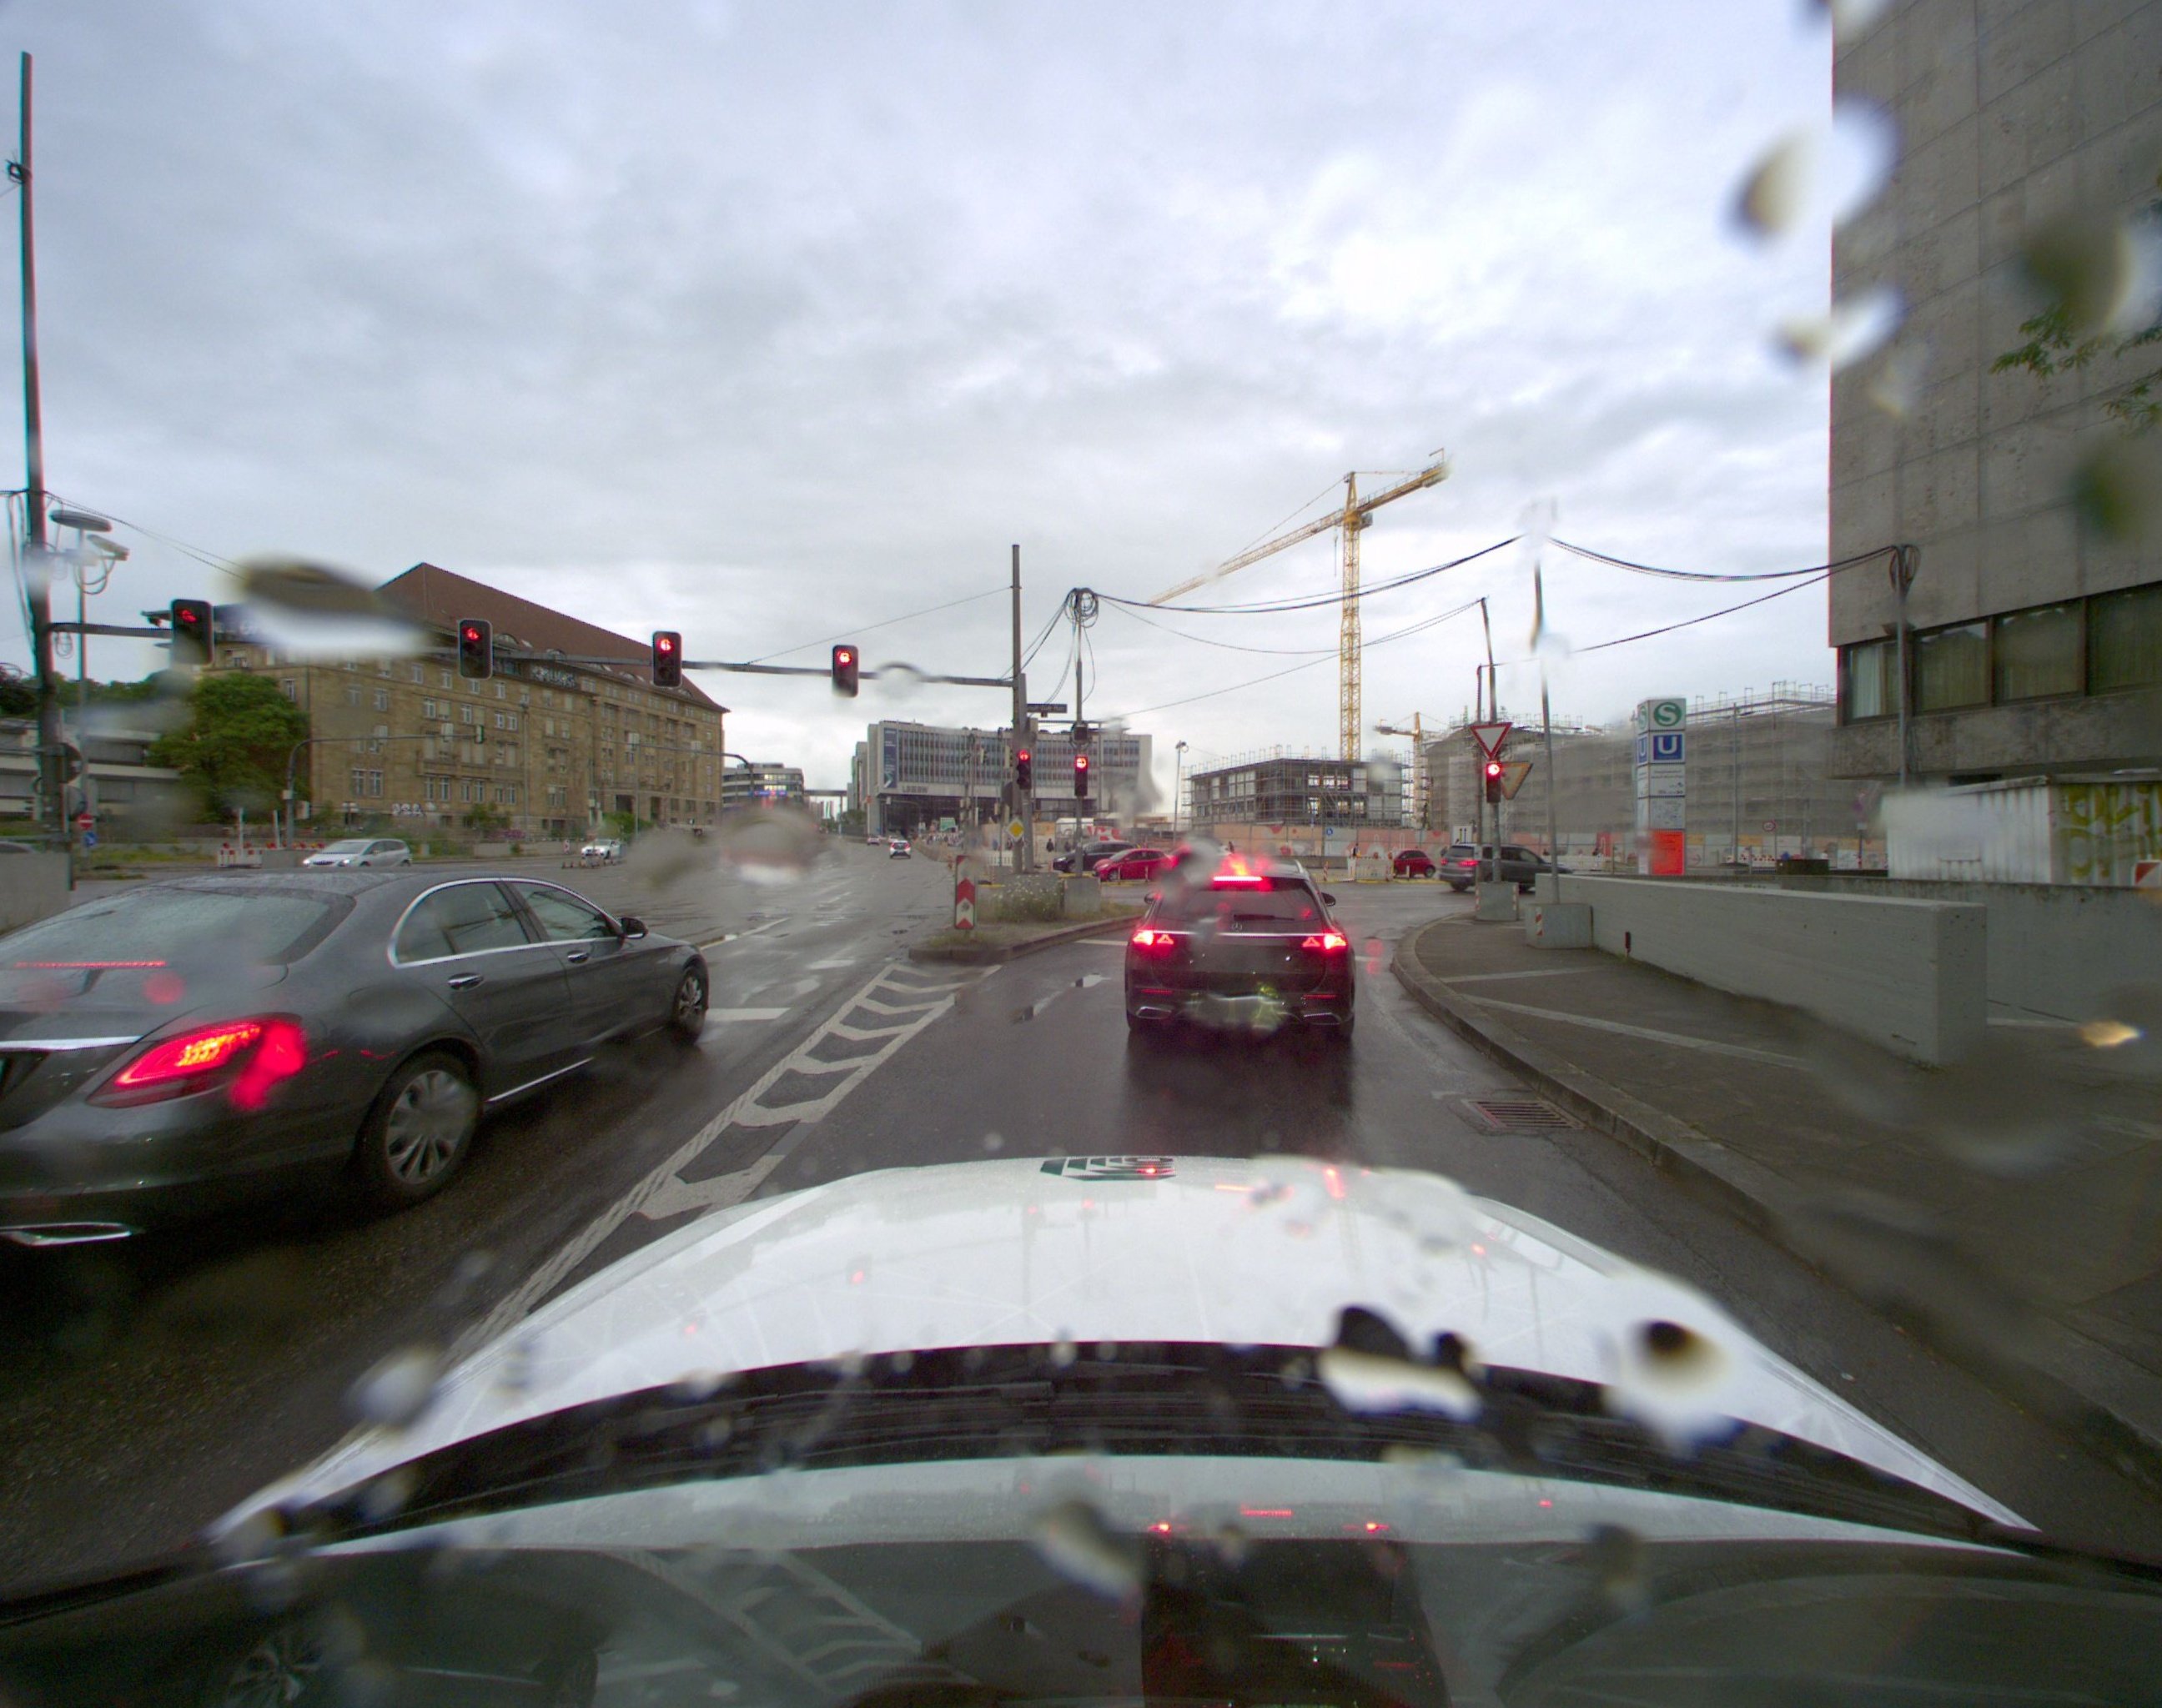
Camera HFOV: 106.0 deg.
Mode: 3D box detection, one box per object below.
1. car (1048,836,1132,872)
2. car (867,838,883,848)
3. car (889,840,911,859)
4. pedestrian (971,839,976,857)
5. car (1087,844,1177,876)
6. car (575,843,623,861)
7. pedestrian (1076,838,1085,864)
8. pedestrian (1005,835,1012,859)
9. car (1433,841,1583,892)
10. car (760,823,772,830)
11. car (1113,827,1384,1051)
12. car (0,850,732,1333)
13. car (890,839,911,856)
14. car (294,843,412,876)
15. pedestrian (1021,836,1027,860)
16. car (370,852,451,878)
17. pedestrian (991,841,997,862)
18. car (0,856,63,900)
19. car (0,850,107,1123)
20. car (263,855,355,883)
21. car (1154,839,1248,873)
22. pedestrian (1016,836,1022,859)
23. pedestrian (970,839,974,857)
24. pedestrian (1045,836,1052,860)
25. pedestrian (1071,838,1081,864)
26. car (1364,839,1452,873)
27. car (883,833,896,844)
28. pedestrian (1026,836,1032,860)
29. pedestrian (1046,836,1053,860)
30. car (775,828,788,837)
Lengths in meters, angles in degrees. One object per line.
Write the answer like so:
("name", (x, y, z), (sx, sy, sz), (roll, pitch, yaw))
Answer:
("car", (0.461, 0.029, 42.392), (3.993, 1.734, 1.990), (1, -1, -15))
("car", (-33.937, -1.798, 134.378), (2.002, 1.640, 3.970), (1, -1, -23))
("car", (-15.588, -0.367, 70.156), (1.783, 1.473, 3.542), (1, -1, -13))
("pedestrian", (-11.220, -0.619, 84.906), (0.362, 1.898, 0.573), (1, -1, -16))
("car", (2.209, 0.256, 35.207), (3.542, 1.304, 1.656), (1, -1, -17))
("car", (-35.811, -0.104, 60.597), (1.768, 1.260, 3.985), (1, -1, -11))
("pedestrian", (-0.013, -0.223, 61.127), (0.569, 1.898, 0.364), (0, -1, 38))
("pedestrian", (-5.868, -0.570, 66.021), (0.363, 1.898, 0.572), (1, -1, -24))
("car", (16.045, 0.473, 30.652), (5.097, 1.798, 1.989), (1, -1, -17))
("car", (-89.193, -7.862, 230.648), (2.009, 1.816, 3.956), (1, -1, -36))
("car", (1.424, 0.618, 7.761), (1.881, 1.544, 4.001), (1, -1, 7))
("car", (-3.749, 0.723, 4.707), (1.780, 1.402, 4.480), (1, 1, -4))
("car", (-20.165, -0.711, 90.904), (1.998, 1.766, 4.393), (1, -1, -17))
("car", (-30.534, 0.248, 34.332), (1.768, 1.260, 4.178), (1, -1, -11))
("pedestrian", (-4.697, -0.487, 67.093), (0.363, 1.898, 0.572), (1, -1, -23))
("car", (-35.329, 0.578, 43.047), (1.625, 1.260, 4.061), (1, -1, -13))
("pedestrian", (-7.959, -0.189, 74.520), (0.362, 1.898, 0.572), (1, -1, -20))
("car", (-31.579, 0.670, 22.830), (1.625, 1.260, 3.982), (1, -1, -13))
("car", (-6.757, 0.694, 2.430), (1.884, 1.515, 4.993), (1, -1, -5))
("car", (-37.362, 0.720, 39.525), (1.739, 1.260, 3.315), (1, -1, -13))
("car", (5.785, 0.112, 39.318), (4.050, 1.552, 1.988), (1, -1, -18))
("pedestrian", (-5.103, -0.513, 66.954), (0.362, 1.898, 0.572), (1, -1, -23))
("pedestrian", (-12.198, -0.666, 91.059), (0.362, 1.898, 0.573), (1, -1, -16))
("pedestrian", (-2.595, -0.499, 65.532), (0.362, 1.898, 0.572), (1, -1, -20))
("pedestrian", (-0.366, -0.188, 59.847), (0.570, 1.898, 0.364), (0, -1, 17))
("car", (17.387, 0.130, 43.297), (3.995, 1.708, 1.989), (1, -1, -16))
("car", (-33.191, -2.721, 141.334), (1.733, 1.639, 3.412), (1, 2, -20))
("pedestrian", (-4.305, -0.498, 67.226), (0.362, 1.898, 0.572), (1, -1, -20))
("pedestrian", (-2.543, -0.499, 65.463), (0.362, 1.898, 0.572), (1, -1, -20))
("car", (-74.567, -5.398, 202.781), (2.008, 2.014, 3.958), (1, -1, -34))
